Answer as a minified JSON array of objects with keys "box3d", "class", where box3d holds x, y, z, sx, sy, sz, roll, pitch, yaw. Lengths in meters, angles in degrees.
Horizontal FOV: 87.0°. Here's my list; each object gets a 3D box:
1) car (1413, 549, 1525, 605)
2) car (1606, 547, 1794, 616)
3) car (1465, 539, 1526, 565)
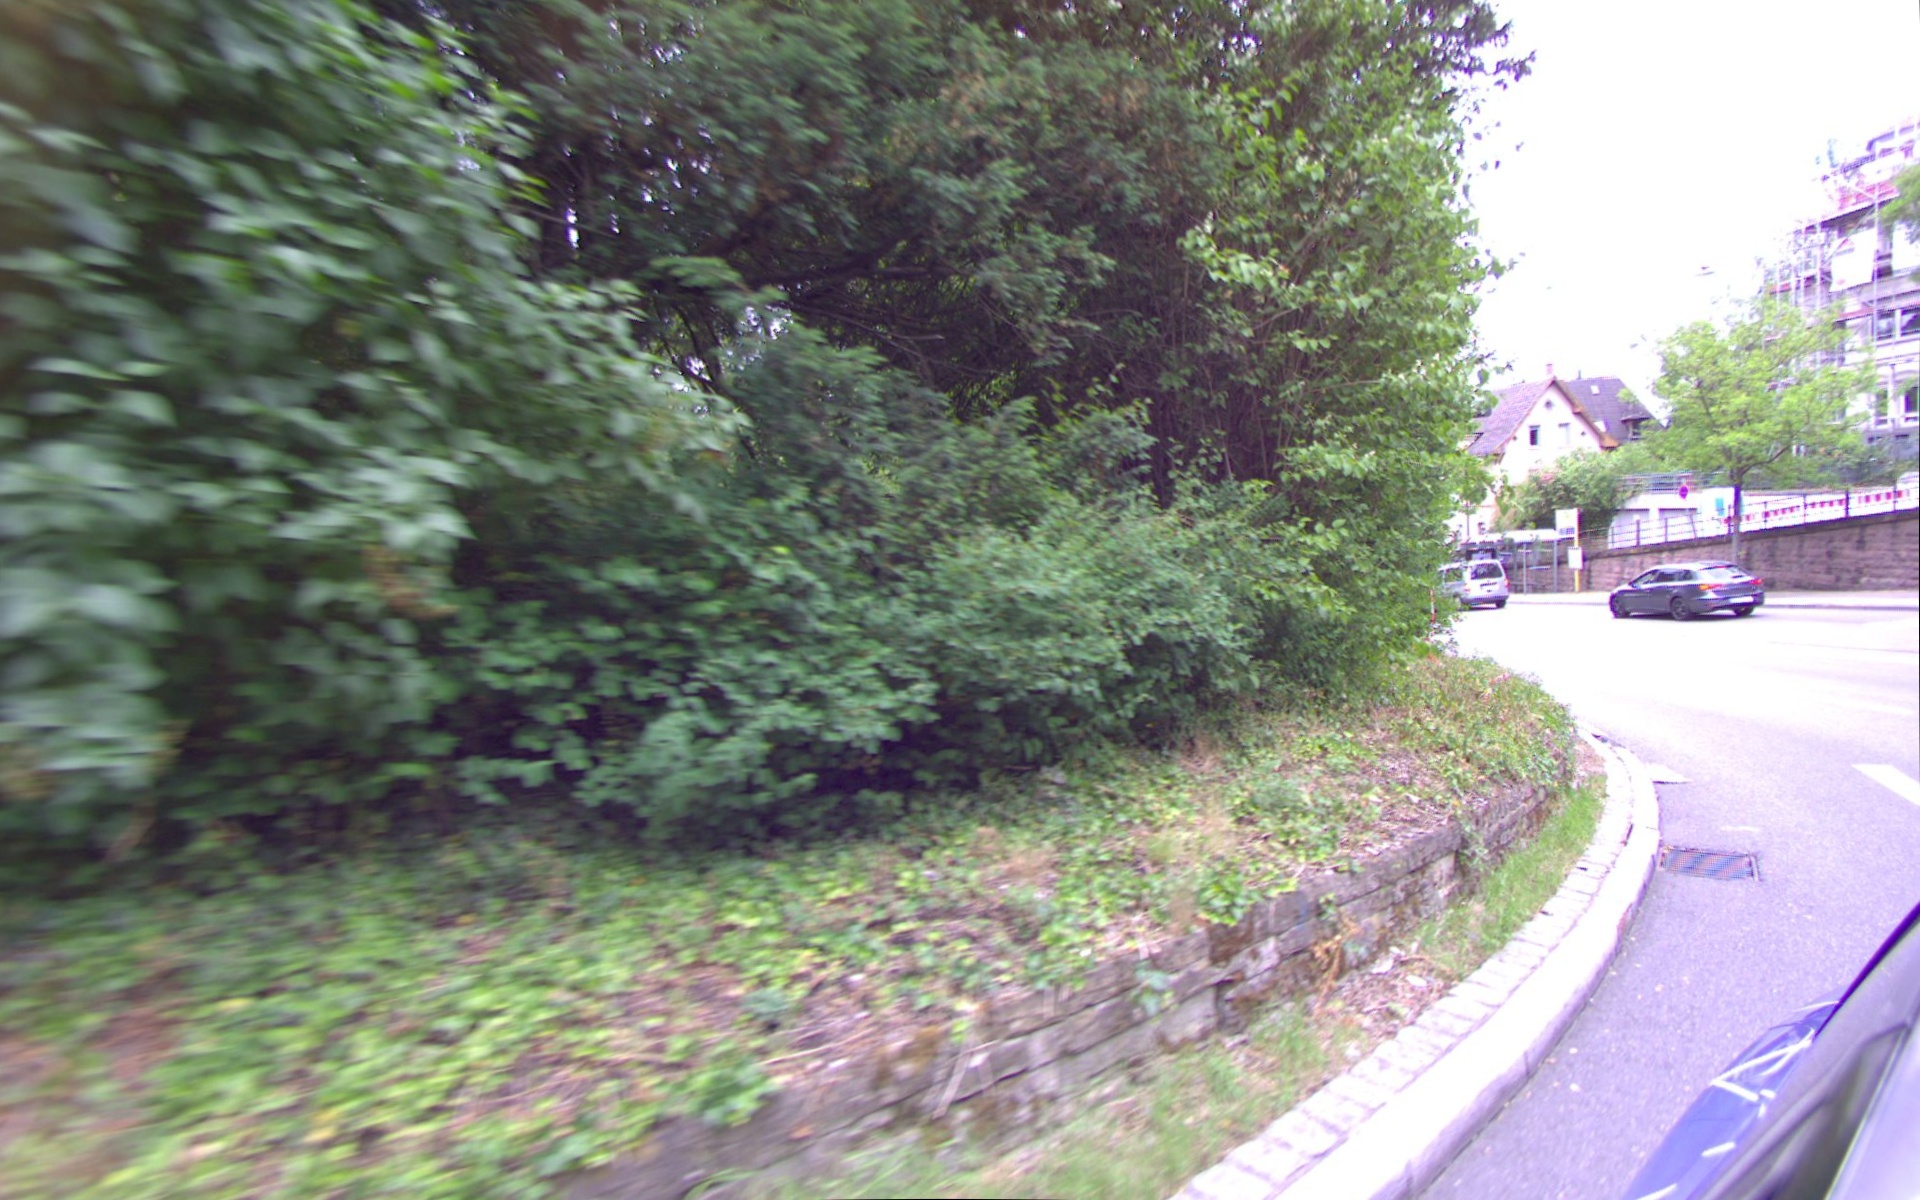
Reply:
[{"box3d":[19.546,-0.855,39.129,1.828,1.836,4.450,-6,1,-1],"class":"car"},{"box3d":[19.455,-0.496,26.901,1.756,1.484,4.401,-6,1,2],"class":"car"},{"box3d":[32.058,-2.858,60.670,1.677,1.439,3.636,-1,2,-1],"class":"car"}]
